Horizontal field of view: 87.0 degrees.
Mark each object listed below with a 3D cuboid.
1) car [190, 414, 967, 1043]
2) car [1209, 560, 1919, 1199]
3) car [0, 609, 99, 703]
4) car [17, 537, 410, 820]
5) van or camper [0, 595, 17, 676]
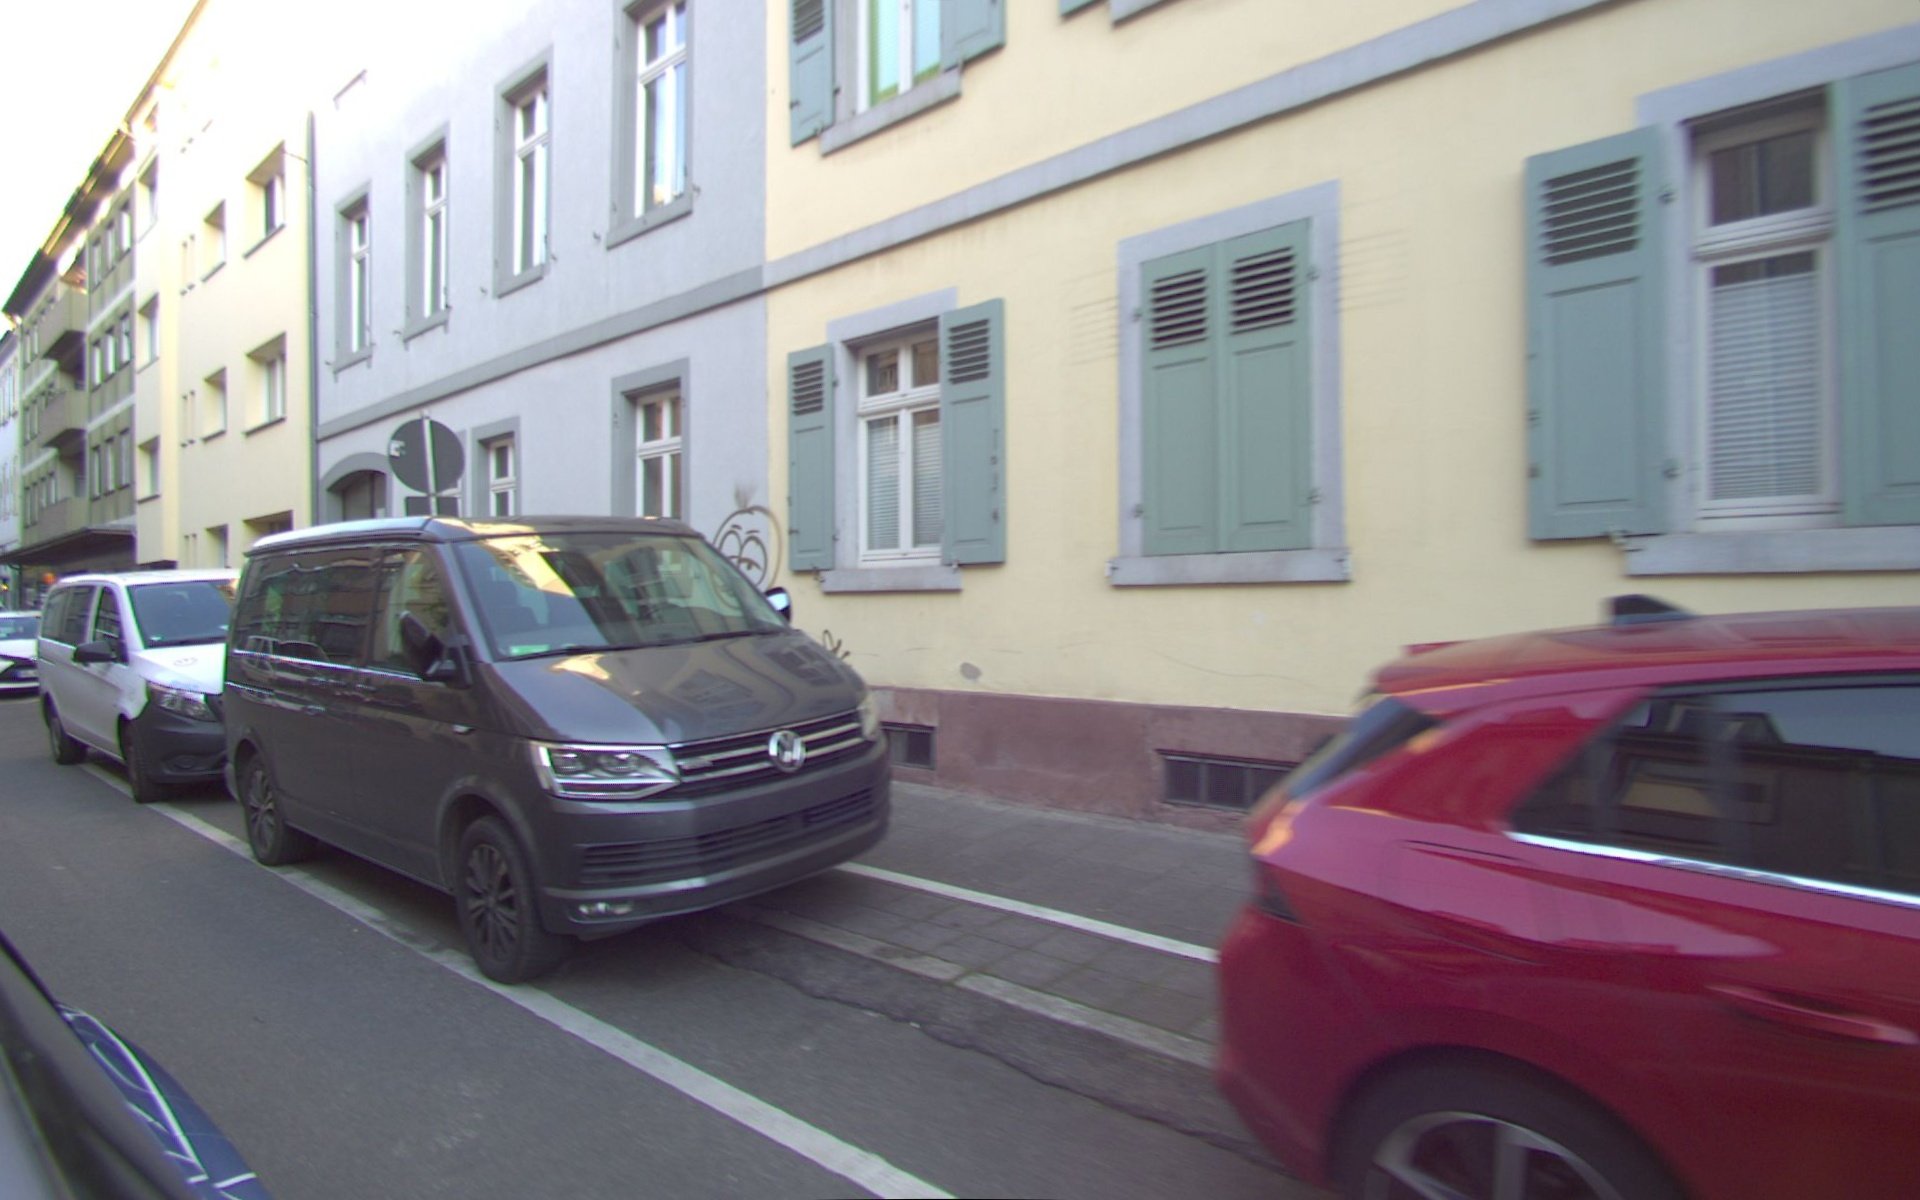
[{"bbox_3d":[-2.400,0.441,5.527,4.809,2.029,1.844,-1,-1,40],"label":"car"},{"bbox_3d":[2.687,0.638,1.355,4.261,1.412,1.746,-1,0,41],"label":"car"},{"bbox_3d":[-16.858,0.942,18.082,3.518,1.459,1.645,-1,3,41],"label":"car"},{"bbox_3d":[-7.279,0.596,9.627,5.101,2.029,1.844,-1,-1,40],"label":"car"},{"bbox_3d":[-24.022,0.832,24.228,4.177,1.862,1.753,-1,-1,42],"label":"van or camper"}]
